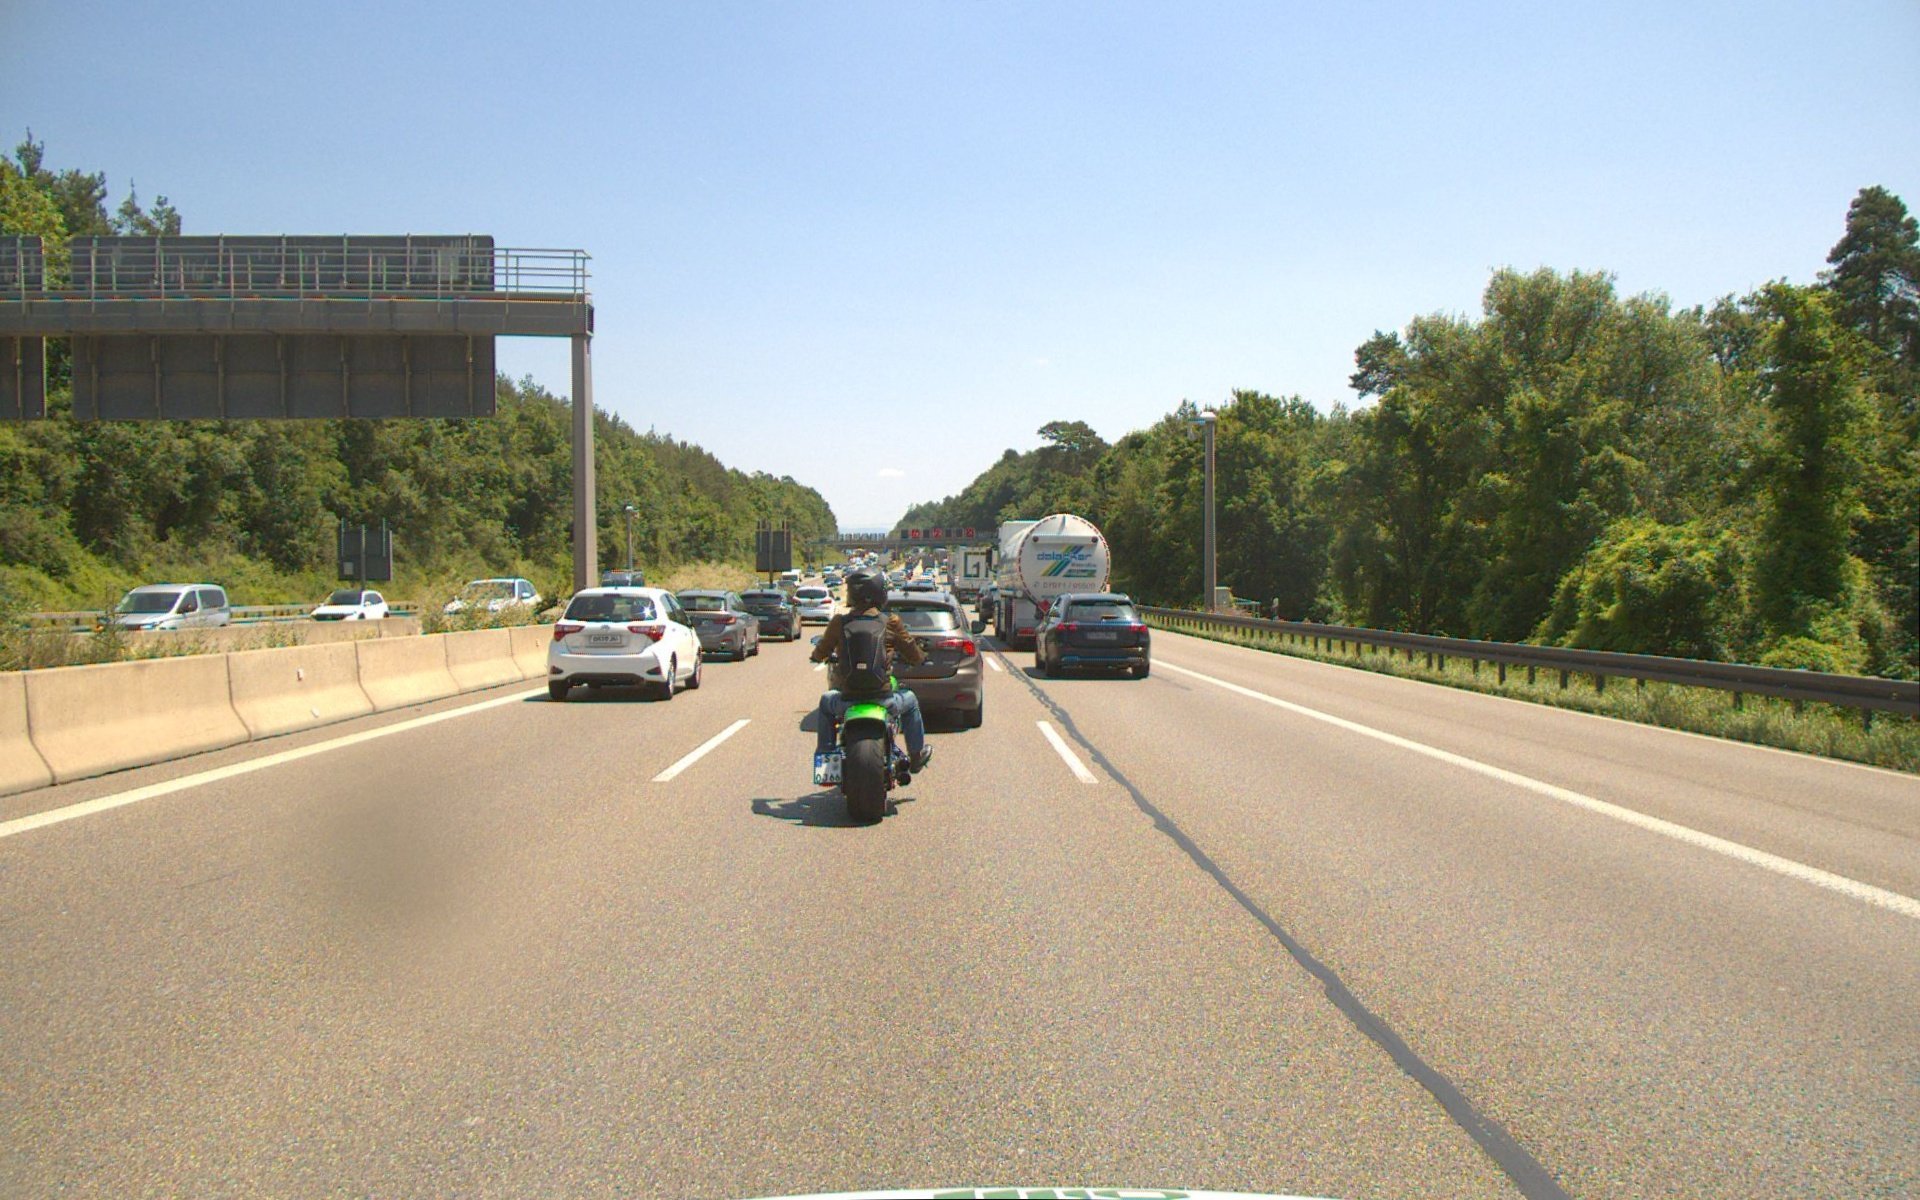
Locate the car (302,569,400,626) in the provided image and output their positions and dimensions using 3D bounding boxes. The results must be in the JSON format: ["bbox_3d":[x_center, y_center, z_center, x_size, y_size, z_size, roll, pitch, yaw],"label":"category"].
[{"bbox_3d":[-22.948,-0.044,62.528,2.080,2.049,4.363,1,-1,-1],"label":"car"}]

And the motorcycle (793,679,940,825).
[{"bbox_3d":[-0.612,1.014,11.573,0.917,0.807,2.298,1,0,-1],"label":"motorcycle"}]

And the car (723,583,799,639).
[{"bbox_3d":[-5.611,0.336,46.993,1.954,1.490,3.996,1,-1,-5],"label":"car"}]

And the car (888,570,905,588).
[{"bbox_3d":[-7.421,-2.424,193.495,1.953,2.049,3.999,0,0,-1],"label":"car"}]

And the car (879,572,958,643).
[{"bbox_3d":[-1.089,0.219,42.958,1.953,1.741,3.998,1,-1,-2],"label":"car"}]

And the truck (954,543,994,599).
[{"bbox_3d":[1.072,-2.097,122.635,2.794,3.888,7.188,1,-1,2],"label":"truck"}]

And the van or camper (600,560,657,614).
[{"bbox_3d":[-18.971,-0.717,94.856,2.110,2.909,6.650,1,-1,-2],"label":"van or camper"}]

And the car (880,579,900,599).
[{"bbox_3d":[-5.964,-0.909,141.386,1.627,1.627,3.999,0,0,-1],"label":"car"}]

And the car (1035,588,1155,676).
[{"bbox_3d":[2.419,0.583,30.639,1.756,1.484,4.622,1,-1,-1],"label":"car"}]

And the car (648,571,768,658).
[{"bbox_3d":[-5.311,0.320,35.344,1.953,1.713,4.329,1,-1,-1],"label":"car"}]

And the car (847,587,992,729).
[{"bbox_3d":[-0.465,0.613,19.416,1.509,1.475,3.999,1,0,-1],"label":"car"}]

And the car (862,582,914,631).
[{"bbox_3d":[-2.785,0.284,64.437,1.953,1.806,3.998,1,-1,-2],"label":"car"}]

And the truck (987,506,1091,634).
[{"bbox_3d":[2.372,-0.835,51.703,2.770,3.735,6.427,1,-1,-1],"label":"truck"}]

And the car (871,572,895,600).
[{"bbox_3d":[-5.700,-1.054,122.514,1.627,2.013,3.999,0,0,-1],"label":"car"}]

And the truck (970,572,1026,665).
[{"bbox_3d":[1.915,0.864,87.339,2.340,4.542,10.865,0,0,-2],"label":"truck"}]

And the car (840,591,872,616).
[{"bbox_3d":[-6.341,0.204,101.031,1.728,1.467,3.999,0,0,-1],"label":"car"}]

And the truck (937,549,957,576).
[{"bbox_3d":[-1.818,-5.050,224.854,2.641,3.465,10.475,0,0,-1],"label":"truck"}]

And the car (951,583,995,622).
[{"bbox_3d":[0.540,0.122,69.905,1.740,1.554,3.999,1,-1,-1],"label":"car"}]

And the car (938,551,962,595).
[{"bbox_3d":[-1.003,-2.531,160.816,2.123,3.961,9.327,1,-1,-1],"label":"car"}]

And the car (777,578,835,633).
[{"bbox_3d":[-5.934,0.254,64.273,1.953,2.049,3.998,1,-1,-2],"label":"car"}]

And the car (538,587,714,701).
[{"bbox_3d":[-4.640,0.561,23.486,1.740,1.435,3.999,1,1,-1],"label":"car"}]

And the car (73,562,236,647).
[{"bbox_3d":[-20.425,0.144,42.186,1.953,2.049,4.472,1,-1,0],"label":"car"}]

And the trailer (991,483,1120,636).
[{"bbox_3d":[2.466,-0.925,46.214,2.770,3.735,10.729,1,-1,-1],"label":"trailer"}]

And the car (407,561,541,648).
[{"bbox_3d":[-12.045,0.136,41.286,1.952,2.049,4.348,1,-1,1],"label":"car"}]

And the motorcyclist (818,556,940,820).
[{"bbox_3d":[-0.539,0.584,11.357,0.782,1.717,1.016,1,-1,-1],"label":"motorcyclist"}]
